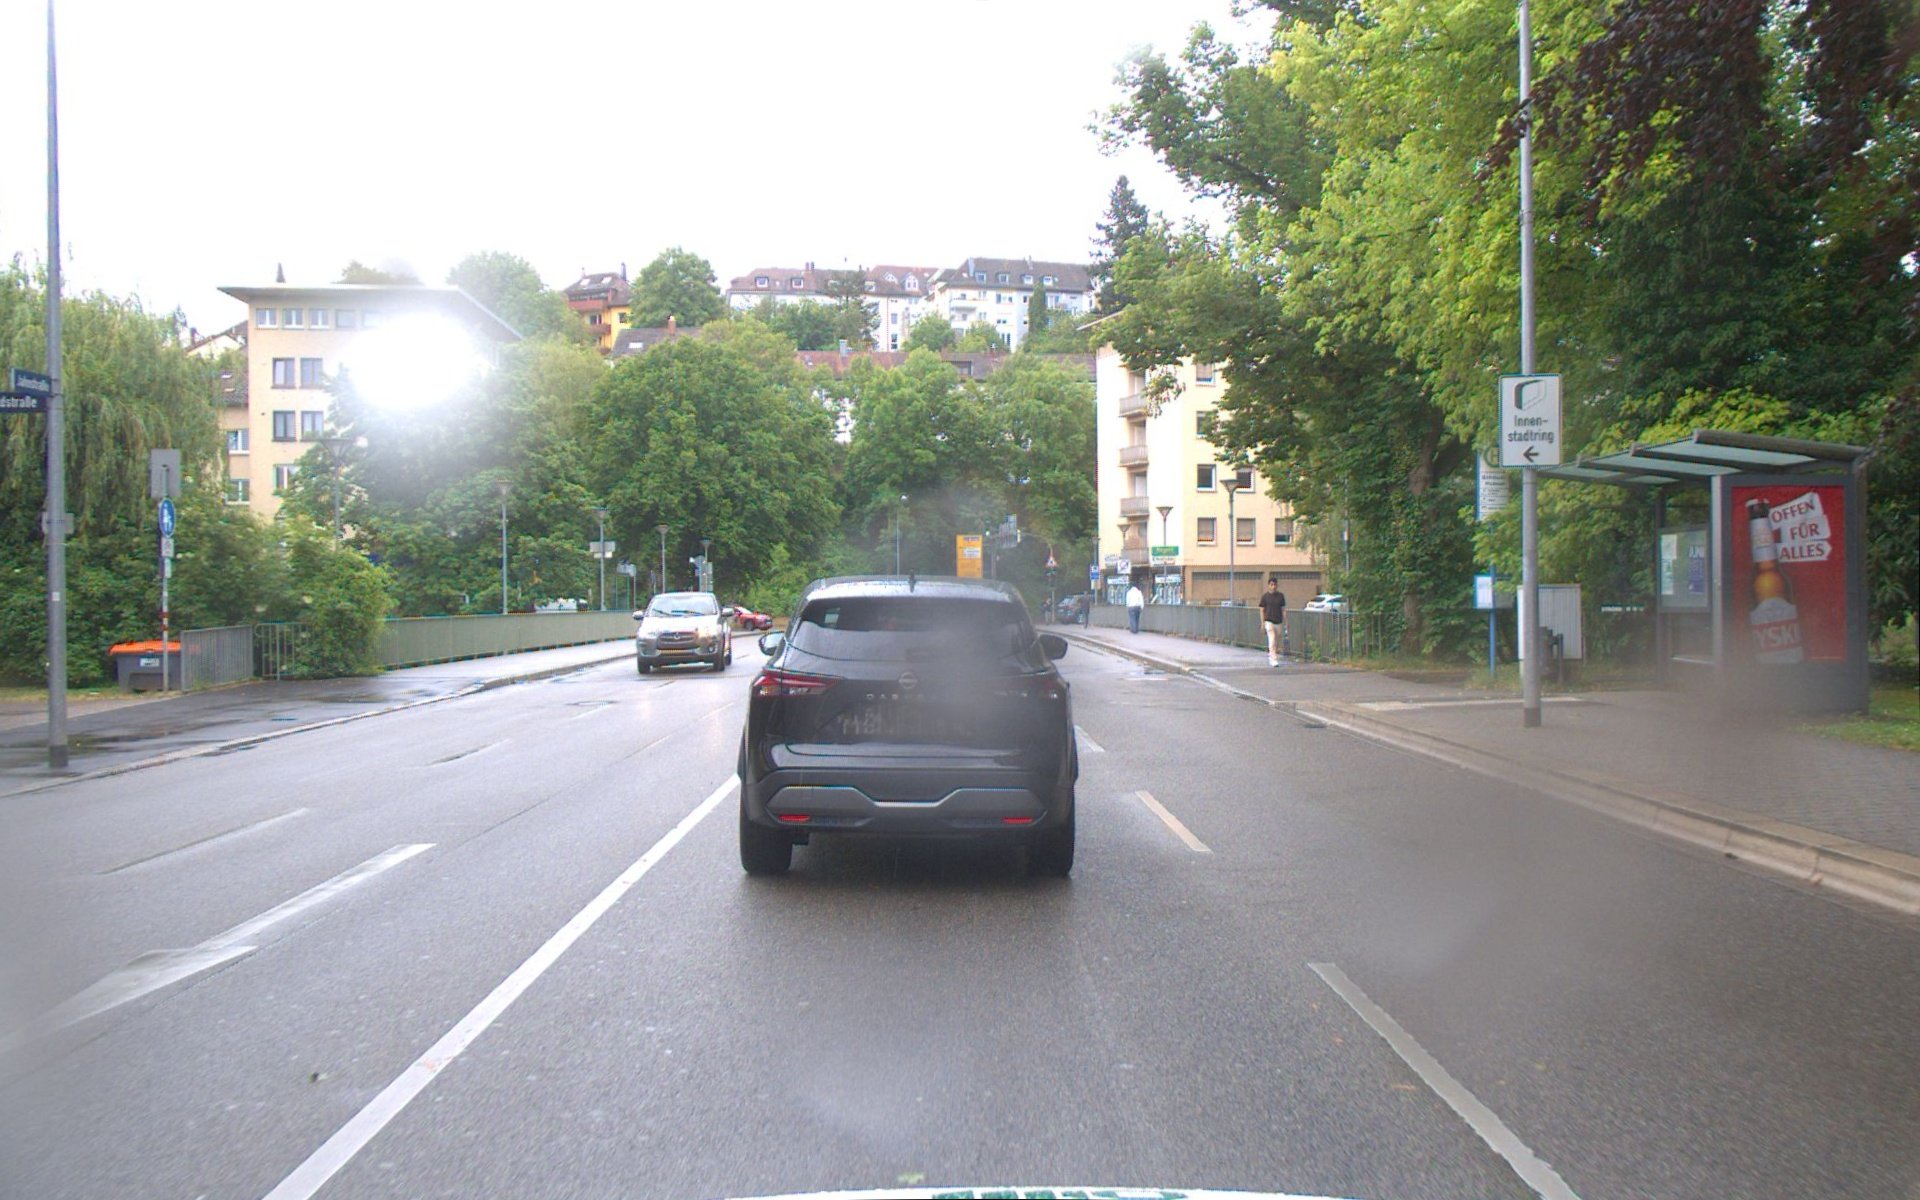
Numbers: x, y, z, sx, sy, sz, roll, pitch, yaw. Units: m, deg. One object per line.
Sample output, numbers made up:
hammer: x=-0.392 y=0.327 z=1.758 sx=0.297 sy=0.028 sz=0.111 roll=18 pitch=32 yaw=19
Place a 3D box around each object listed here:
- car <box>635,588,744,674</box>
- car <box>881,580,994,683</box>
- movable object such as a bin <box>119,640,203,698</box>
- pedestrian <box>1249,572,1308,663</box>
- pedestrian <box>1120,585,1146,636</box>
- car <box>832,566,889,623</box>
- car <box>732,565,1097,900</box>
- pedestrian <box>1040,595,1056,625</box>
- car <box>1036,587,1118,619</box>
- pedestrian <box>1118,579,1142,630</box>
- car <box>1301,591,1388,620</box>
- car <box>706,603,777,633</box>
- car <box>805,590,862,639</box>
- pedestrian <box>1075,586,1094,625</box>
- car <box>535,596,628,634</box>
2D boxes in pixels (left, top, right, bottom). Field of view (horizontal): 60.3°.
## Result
car: x=-5.609 y=0.601 z=34.731 sx=1.777 sy=1.606 sz=4.229 roll=-2 pitch=1 yaw=-3
car: x=-0.393 y=0.492 z=28.334 sx=1.774 sy=1.631 sz=3.999 roll=1 pitch=0 yaw=-1
movable object such as a bin: x=-13.002 y=1.113 z=26.940 sx=0.946 sy=0.892 sz=0.832 roll=-1 pitch=-1 yaw=-1
pedestrian: x=6.213 y=0.342 z=32.296 sx=0.830 sy=1.705 sz=1.167 roll=-3 pitch=0 yaw=-1
pedestrian: x=6.108 y=0.380 z=58.470 sx=0.764 sy=1.783 sz=1.060 roll=-1 pitch=-1 yaw=-1
car: x=-4.383 y=-0.286 z=74.012 sx=2.243 sy=2.349 sz=6.507 roll=-2 pitch=1 yaw=-1
car: x=-0.252 y=0.640 z=10.091 sx=1.774 sy=1.631 sz=3.999 roll=0 pitch=0 yaw=-1
pedestrian: x=5.022 y=0.573 z=94.552 sx=0.845 sy=1.647 sz=0.839 roll=-2 pitch=-1 yaw=-1
car: x=6.726 y=0.162 z=95.099 sx=4.315 sy=1.678 sz=1.867 roll=-2 pitch=0 yaw=-27
pedestrian: x=6.261 y=0.157 z=60.992 sx=0.745 sy=1.840 sz=0.781 roll=-2 pitch=0 yaw=-1
car: x=21.186 y=0.281 z=91.200 sx=4.369 sy=1.400 sz=1.808 roll=-1 pitch=2 yaw=-18
car: x=-13.965 y=1.153 z=105.695 sx=4.278 sy=1.765 sz=1.890 roll=-2 pitch=0 yaw=32
car: x=-4.141 y=0.445 z=54.706 sx=1.746 sy=1.499 sz=4.164 roll=-2 pitch=1 yaw=-3
pedestrian: x=5.573 y=0.256 z=74.030 sx=0.745 sy=1.706 sz=0.781 roll=-3 pitch=0 yaw=-1
car: x=-19.962 y=0.803 z=87.499 sx=4.655 sy=1.886 sz=1.996 roll=0 pitch=2 yaw=-10
